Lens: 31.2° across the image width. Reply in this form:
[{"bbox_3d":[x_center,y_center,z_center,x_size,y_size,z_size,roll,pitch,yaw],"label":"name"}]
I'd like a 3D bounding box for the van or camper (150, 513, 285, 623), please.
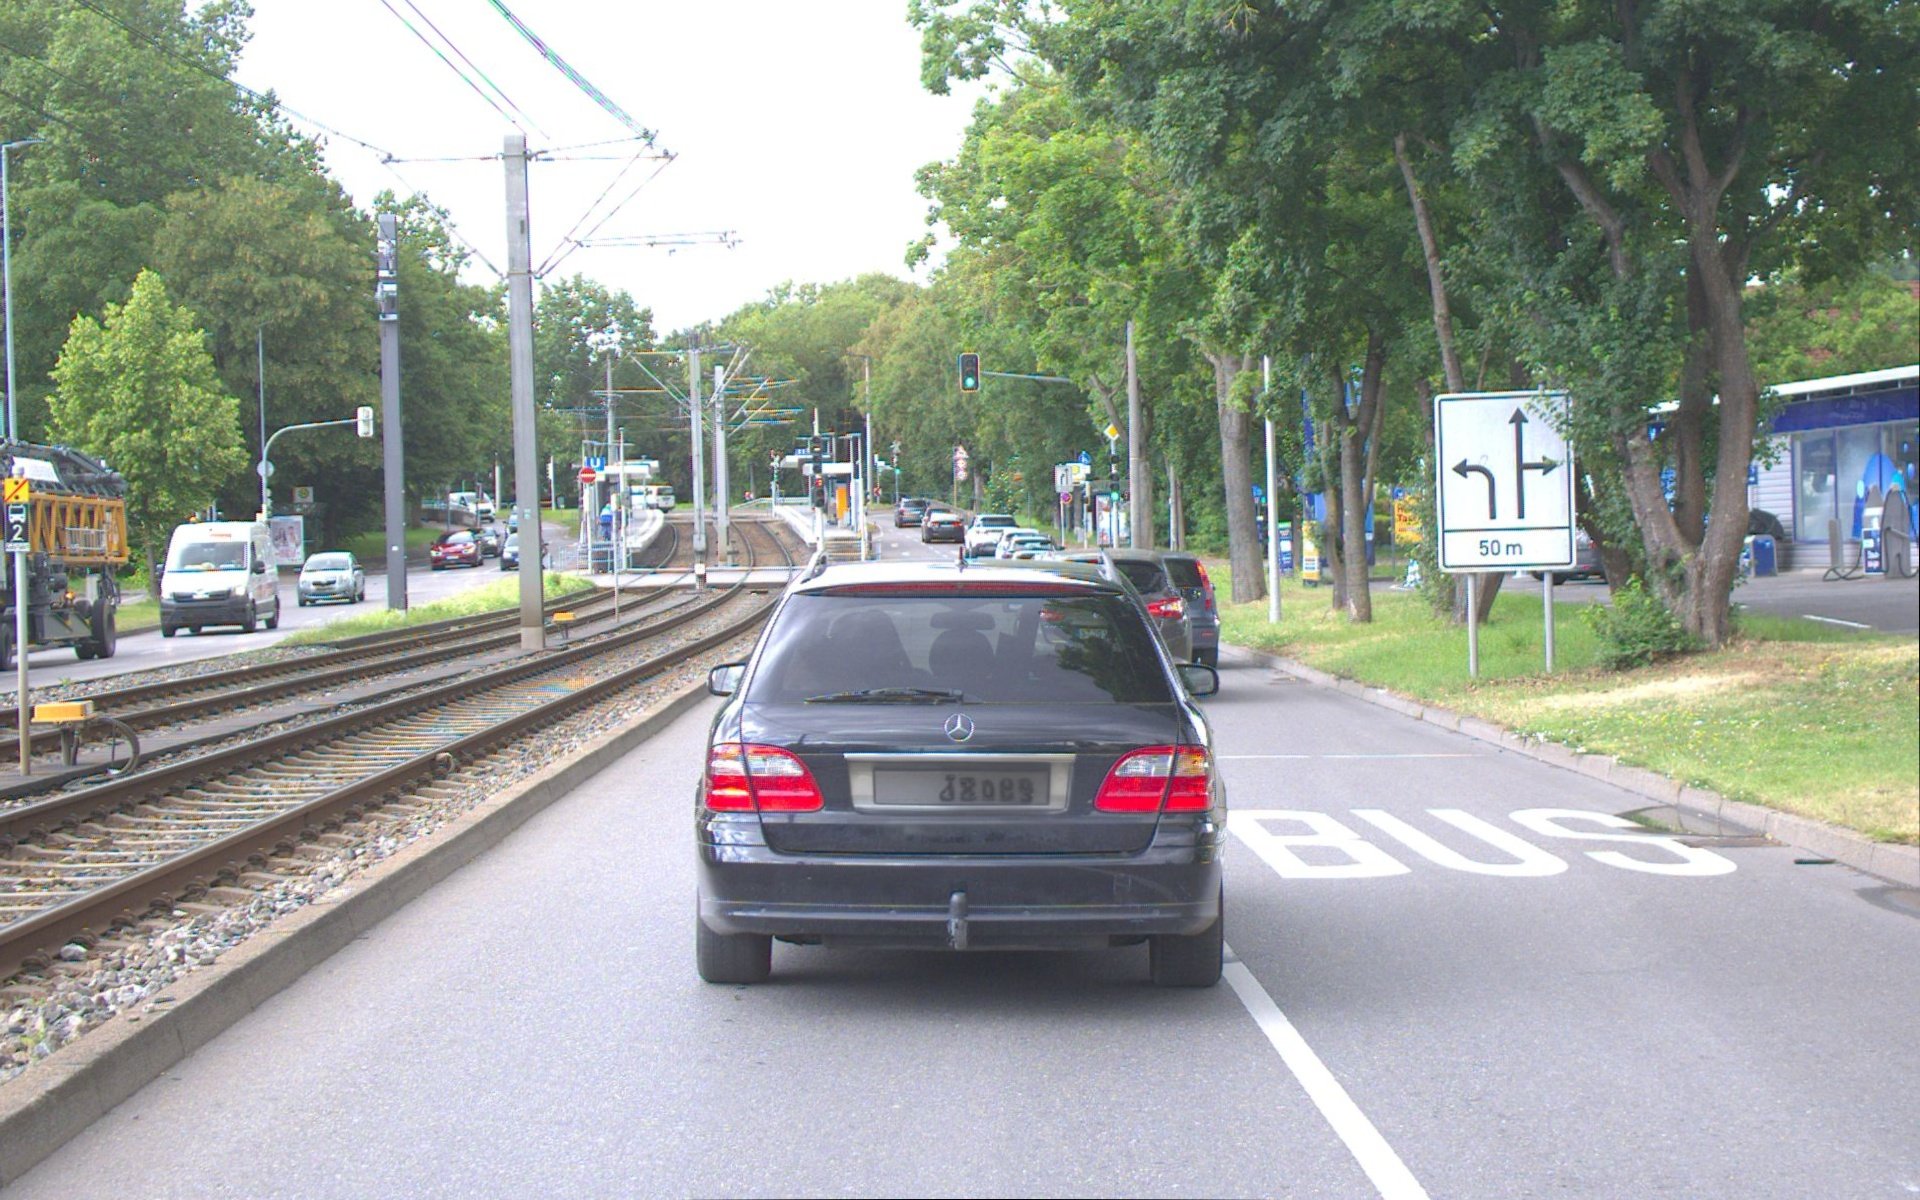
[{"bbox_3d":[-16.821,-0.756,78.176,1.993,2.346,5.766,-2,1,-3],"label":"van or camper"}]

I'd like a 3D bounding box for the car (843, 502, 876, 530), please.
[{"bbox_3d":[-6.282,-5.239,214.905,1.993,1.708,4.000,-1,1,-1],"label":"car"}]

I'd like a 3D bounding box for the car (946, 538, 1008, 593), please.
[{"bbox_3d":[0.552,-1.165,116.021,1.993,1.831,4.000,0,1,-1],"label":"car"}]

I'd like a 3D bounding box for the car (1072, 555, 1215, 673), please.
[{"bbox_3d":[2.287,0.152,43.453,1.571,1.410,3.354,1,0,-1],"label":"car"}]

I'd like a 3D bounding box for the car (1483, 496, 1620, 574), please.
[{"bbox_3d":[13.566,-1.512,78.645,2.008,1.677,4.574,-1,1,24],"label":"car"}]

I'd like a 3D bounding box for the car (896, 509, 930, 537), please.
[{"bbox_3d":[-2.635,-4.281,191.127,1.666,1.527,3.771,0,1,-4],"label":"car"}]

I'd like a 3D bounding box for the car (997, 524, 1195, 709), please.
[{"bbox_3d":[1.317,0.140,34.695,1.780,1.744,3.718,1,0,-1],"label":"car"}]

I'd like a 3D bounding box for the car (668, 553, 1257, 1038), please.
[{"bbox_3d":[-0.016,0.576,12.511,1.808,1.469,3.881,0,1,-1],"label":"car"}]

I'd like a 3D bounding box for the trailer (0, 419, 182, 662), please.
[{"bbox_3d":[-15.756,-0.977,58.564,2.704,3.648,13.301,-2,1,-4],"label":"trailer"}]

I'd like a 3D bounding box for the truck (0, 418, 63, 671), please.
[{"bbox_3d":[-15.103,-0.745,48.190,2.706,3.651,11.114,-2,1,-4],"label":"truck"}]

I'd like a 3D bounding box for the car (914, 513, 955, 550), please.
[{"bbox_3d":[-1.301,-3.429,173.595,1.993,1.831,4.000,0,1,-1],"label":"car"}]

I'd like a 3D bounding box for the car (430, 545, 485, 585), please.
[{"bbox_3d":[-21.075,-1.463,144.289,1.765,1.641,3.771,0,1,-1],"label":"car"}]

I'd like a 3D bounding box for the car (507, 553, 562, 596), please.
[{"bbox_3d":[-16.771,-1.017,135.662,1.765,1.641,3.771,0,1,-1],"label":"car"}]

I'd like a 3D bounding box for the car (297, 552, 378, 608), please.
[{"bbox_3d":[-18.437,-0.610,101.981,1.765,1.641,3.771,0,1,-1],"label":"car"}]
